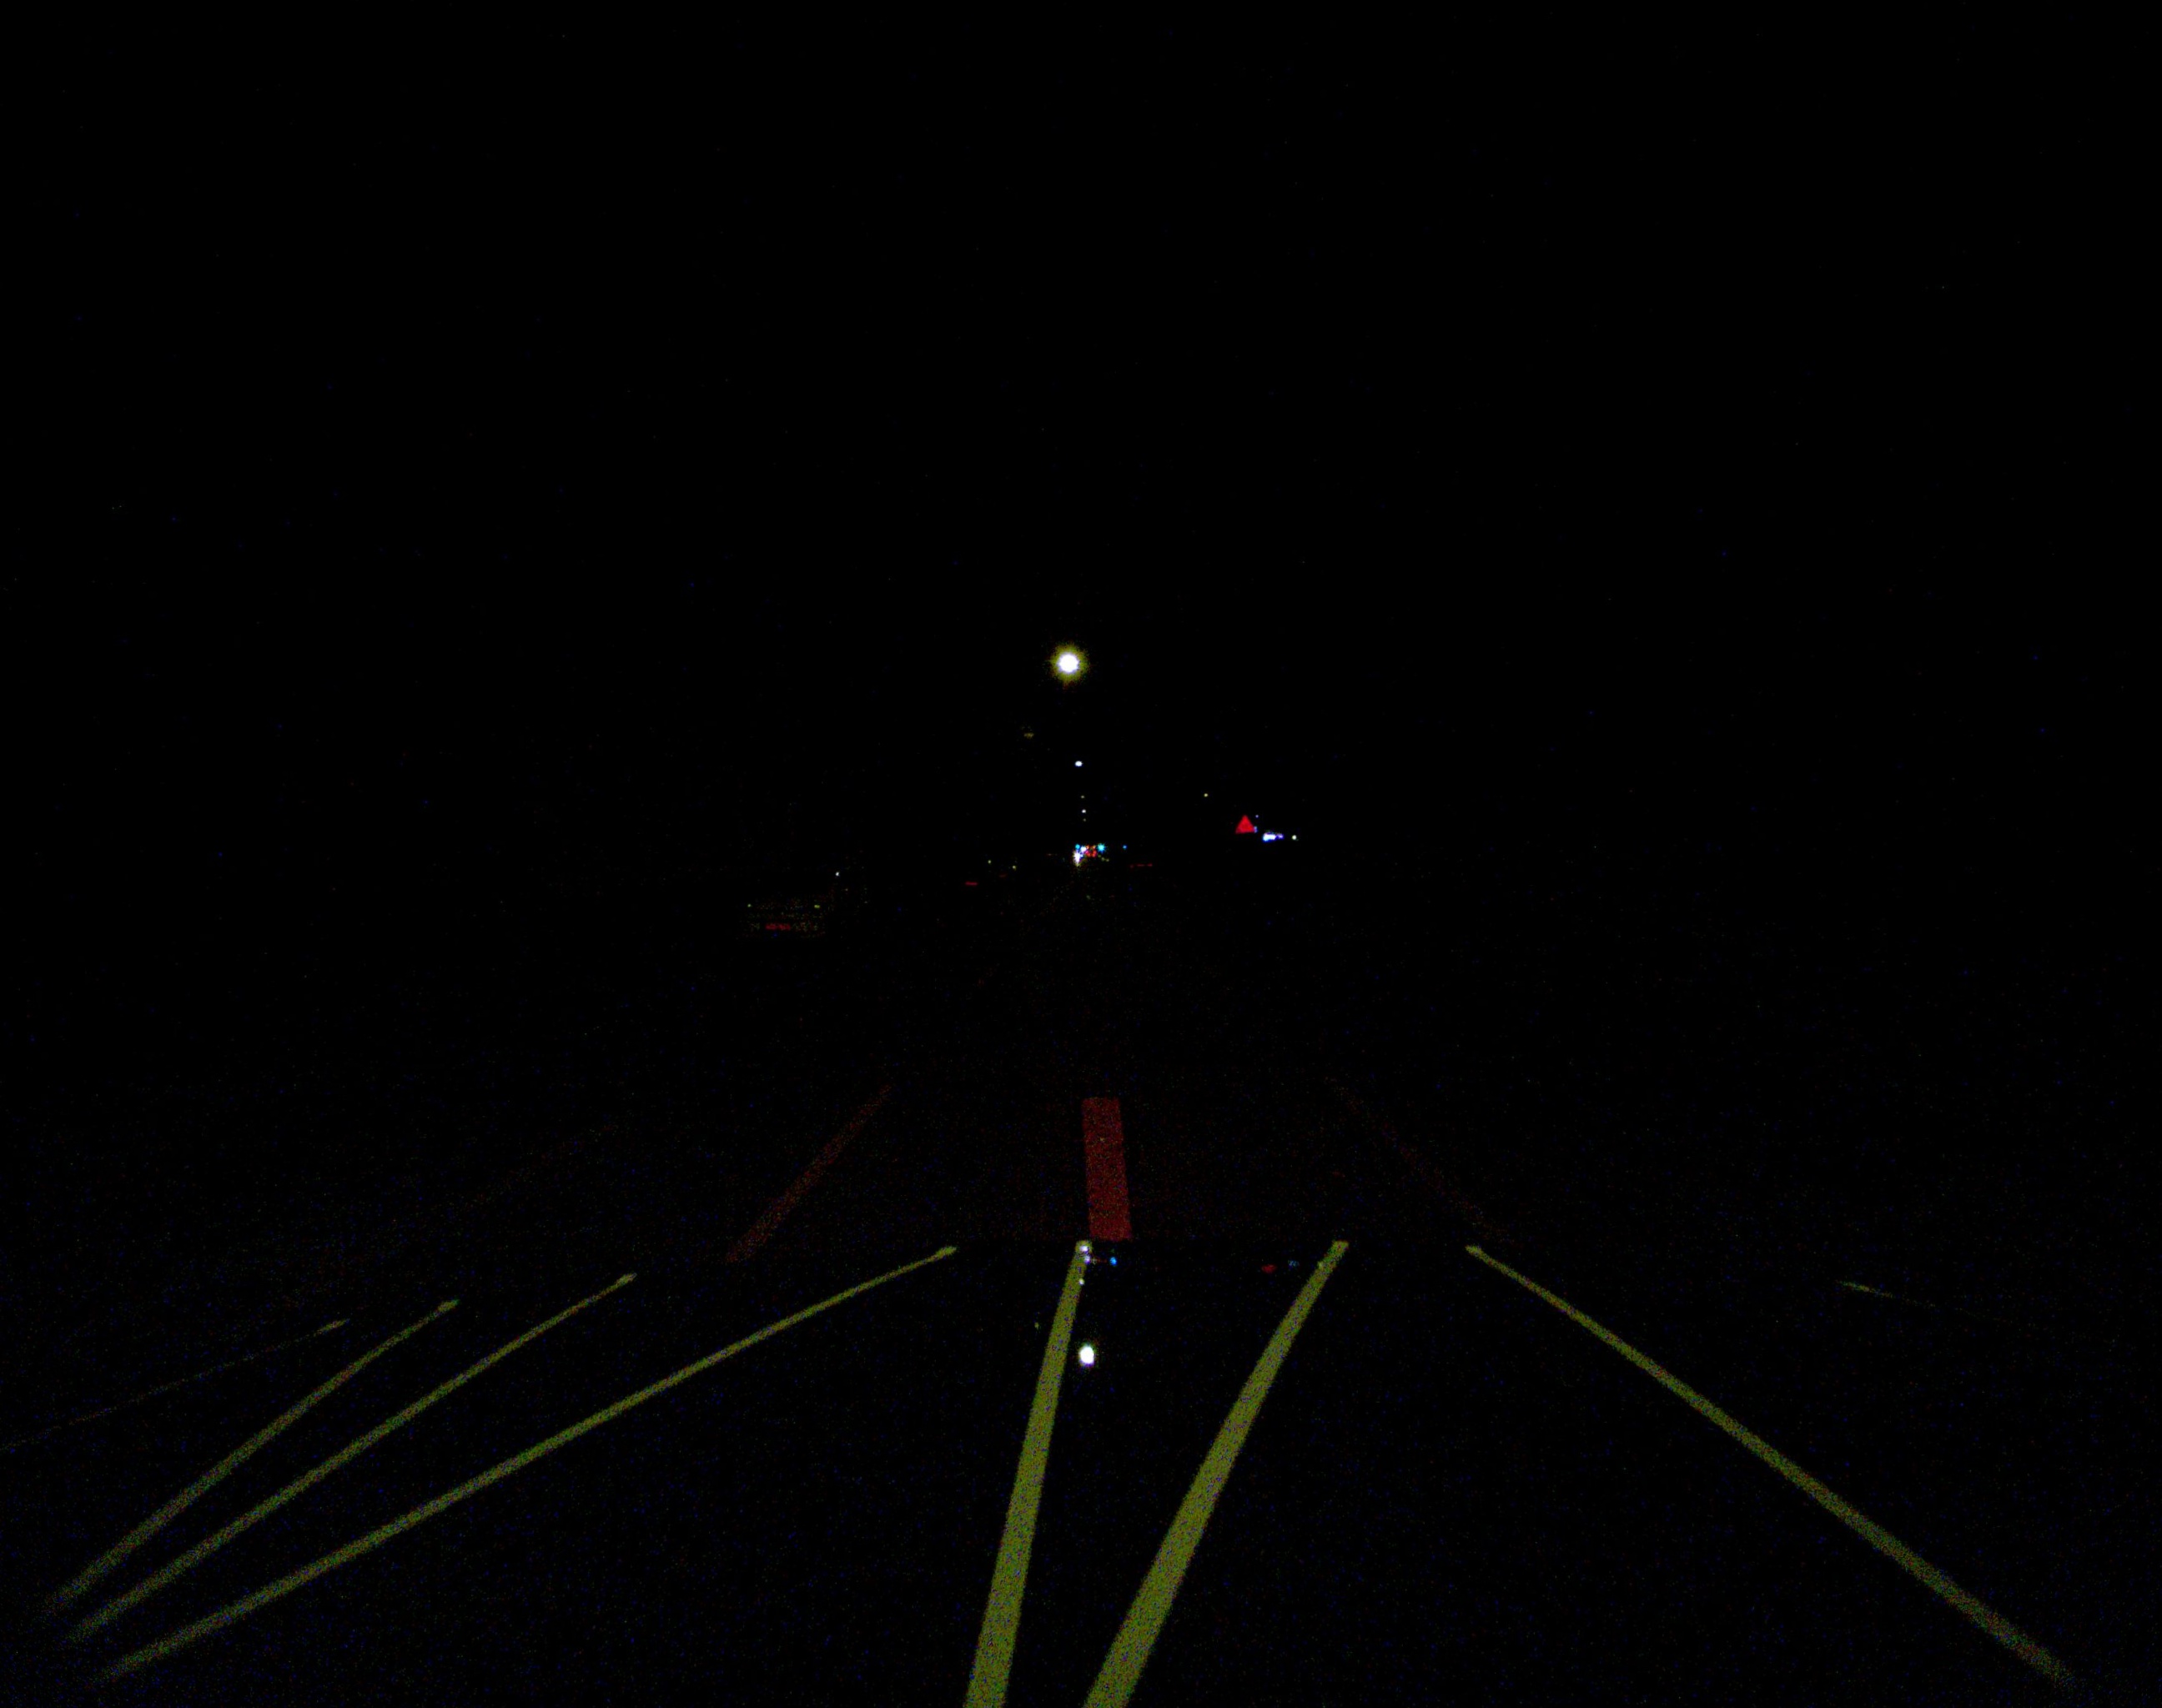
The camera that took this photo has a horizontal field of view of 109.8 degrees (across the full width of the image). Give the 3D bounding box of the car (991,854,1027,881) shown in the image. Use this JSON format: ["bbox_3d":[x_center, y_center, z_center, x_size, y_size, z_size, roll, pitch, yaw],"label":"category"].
[{"bbox_3d":[-4.444,0.803,47.640,1.742,1.588,4.359,0,0,1],"label":"car"}]

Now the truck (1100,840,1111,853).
[{"bbox_3d":[4.970,-1.519,155.341,2.084,2.562,6.873,-2,0,1],"label":"truck"}]

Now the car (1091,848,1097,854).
[{"bbox_3d":[3.717,-0.944,215.782,1.873,1.635,4.000,-2,0,1],"label":"car"}]

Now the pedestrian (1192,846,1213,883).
[{"bbox_3d":[5.681,0.486,35.543,0.744,1.662,1.103,-2,1,0],"label":"pedestrian"}]

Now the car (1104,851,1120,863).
[{"bbox_3d":[4.447,0.371,109.895,1.874,1.635,3.999,-2,0,-3],"label":"car"}]

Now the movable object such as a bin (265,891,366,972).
[{"bbox_3d":[-10.790,1.076,10.737,0.609,1.042,0.755,-2,1,1],"label":"movable object such as a bin"}]

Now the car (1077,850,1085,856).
[{"bbox_3d":[-0.003,-0.299,210.460,1.874,1.635,3.999,-2,0,0],"label":"car"}]

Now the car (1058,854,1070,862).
[{"bbox_3d":[-2.978,0.660,134.631,1.874,1.407,3.999,-2,0,0],"label":"car"}]

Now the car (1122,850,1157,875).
[{"bbox_3d":[3.978,0.552,52.160,1.864,1.524,4.587,-4,0,-1],"label":"car"}]

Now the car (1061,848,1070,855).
[{"bbox_3d":[-3.325,-0.443,163.825,1.874,1.407,3.999,-2,0,0],"label":"car"}]

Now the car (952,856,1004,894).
[{"bbox_3d":[-4.560,0.894,34.118,1.865,1.544,4.044,0,0,-1],"label":"car"}]

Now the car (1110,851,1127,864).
[{"bbox_3d":[4.972,0.396,100.700,1.874,1.635,3.999,-2,0,-3],"label":"car"}]

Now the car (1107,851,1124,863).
[{"bbox_3d":[4.729,0.426,104.956,1.874,1.635,3.999,-2,0,-3],"label":"car"}]

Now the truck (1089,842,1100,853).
[{"bbox_3d":[4.266,-2.028,239.233,3.222,3.360,8.850,-2,0,1],"label":"truck"}]

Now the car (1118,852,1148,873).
[{"bbox_3d":[3.900,0.599,57.675,1.864,1.458,3.896,-4,0,-1],"label":"car"}]

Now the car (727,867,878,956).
[{"bbox_3d":[-5.326,1.041,15.032,1.672,1.476,3.603,0,0,0],"label":"car"}]

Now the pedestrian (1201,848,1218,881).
[{"bbox_3d":[6.711,0.548,39.693,0.670,1.716,0.866,-2,1,-2],"label":"pedestrian"}]

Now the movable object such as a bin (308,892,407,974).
[{"bbox_3d":[-10.119,1.093,10.654,0.609,1.042,0.755,-2,1,1],"label":"movable object such as a bin"}]

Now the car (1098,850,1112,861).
[{"bbox_3d":[3.733,0.288,119.326,1.874,1.635,3.999,-2,0,-3],"label":"car"}]

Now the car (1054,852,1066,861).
[{"bbox_3d":[-3.571,0.483,128.109,1.874,1.407,3.999,-2,0,0],"label":"car"}]

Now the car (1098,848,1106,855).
[{"bbox_3d":[5.002,-0.637,180.146,1.873,1.551,4.353,-2,0,1],"label":"car"}]
